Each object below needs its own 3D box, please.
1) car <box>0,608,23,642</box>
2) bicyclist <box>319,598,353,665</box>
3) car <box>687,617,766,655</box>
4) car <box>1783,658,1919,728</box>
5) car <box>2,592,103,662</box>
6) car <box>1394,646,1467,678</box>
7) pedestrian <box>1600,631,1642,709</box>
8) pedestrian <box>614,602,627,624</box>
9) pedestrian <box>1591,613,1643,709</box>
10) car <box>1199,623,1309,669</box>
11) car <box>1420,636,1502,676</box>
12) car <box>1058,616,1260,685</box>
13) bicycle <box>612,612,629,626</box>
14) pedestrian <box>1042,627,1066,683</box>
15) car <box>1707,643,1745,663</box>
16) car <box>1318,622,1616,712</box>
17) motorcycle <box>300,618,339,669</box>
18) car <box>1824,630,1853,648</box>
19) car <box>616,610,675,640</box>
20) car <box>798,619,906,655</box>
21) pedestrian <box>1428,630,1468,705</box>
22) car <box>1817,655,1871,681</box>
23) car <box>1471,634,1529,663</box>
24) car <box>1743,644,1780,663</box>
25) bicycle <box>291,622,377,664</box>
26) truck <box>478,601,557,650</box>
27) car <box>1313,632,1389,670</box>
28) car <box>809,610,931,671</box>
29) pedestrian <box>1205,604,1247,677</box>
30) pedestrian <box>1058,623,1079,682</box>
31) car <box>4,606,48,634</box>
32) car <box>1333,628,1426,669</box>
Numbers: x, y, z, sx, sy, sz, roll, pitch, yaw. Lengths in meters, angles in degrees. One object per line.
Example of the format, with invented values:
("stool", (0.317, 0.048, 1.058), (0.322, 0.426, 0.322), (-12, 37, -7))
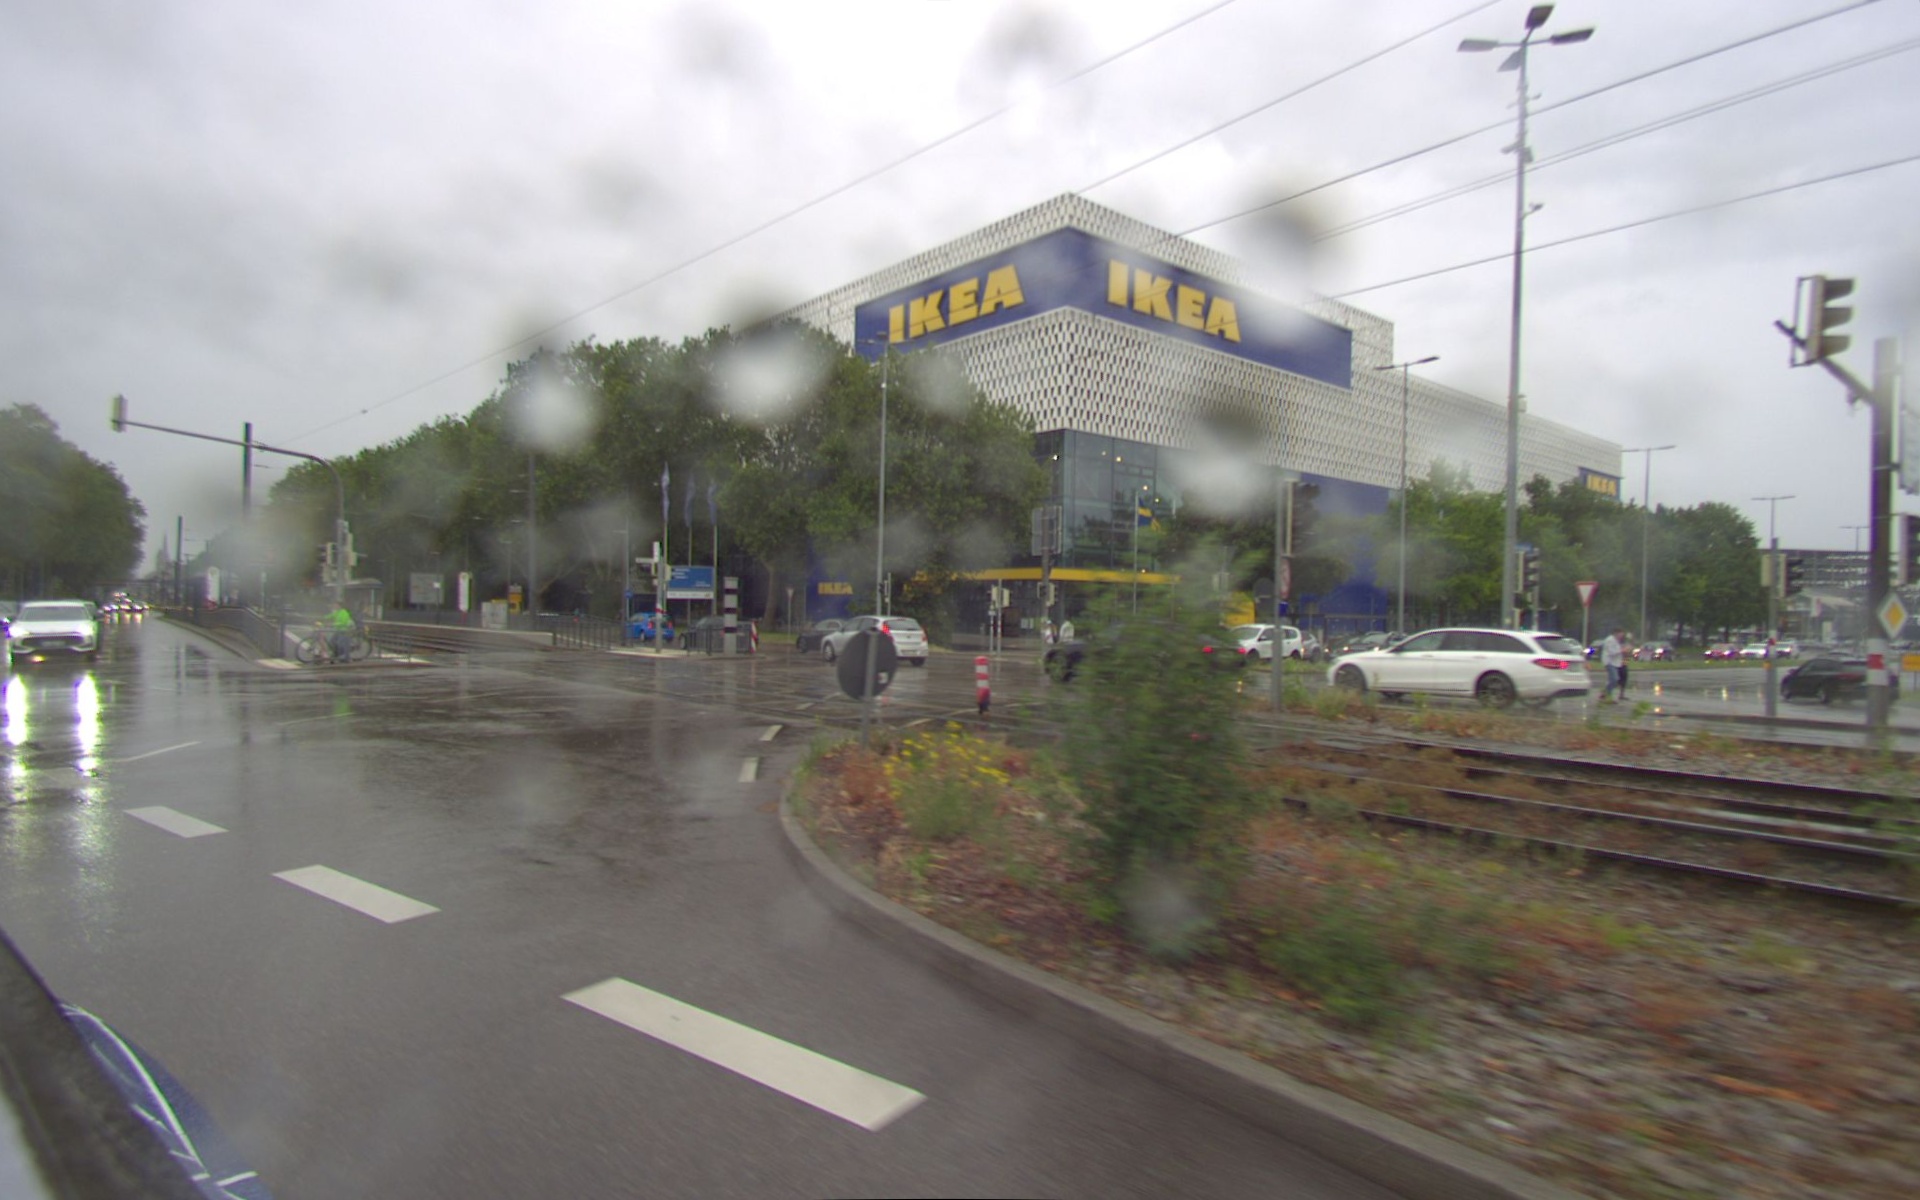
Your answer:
("car", (-46.285, 1.221, 48.579), (1.690, 1.536, 4.049), (-1, -1, -40))
("bicyclist", (-16.571, 0.833, 26.874), (0.609, 1.745, 0.794), (-2, 0, -43))
("car", (-9.313, 1.408, 40.107), (1.561, 1.377, 4.211), (-1, 0, -35))
("car", (26.546, 2.684, 29.954), (1.785, 1.630, 3.984), (0, 1, 13))
("car", (-25.669, 0.714, 28.756), (1.964, 1.802, 4.560), (-1, 0, -40))
("car", (25.299, 3.295, 54.388), (4.220, 1.552, 1.823), (1, -2, -38))
("pedestrian", (16.368, 1.714, 25.043), (0.769, 1.831, 0.706), (0, 1, 43))
("pedestrian", (-21.874, 0.838, 65.256), (0.571, 1.345, 0.686), (-1, 1, -45))
("pedestrian", (14.437, 1.323, 22.250), (0.858, 2.029, 0.686), (0, 1, 43))
("car", (11.323, 1.719, 38.895), (4.391, 1.552, 1.823), (-1, -1, -38))
("car", (23.849, 2.639, 48.143), (4.044, 1.615, 2.004), (-1, 1, -39))
("car", (4.078, 0.998, 21.292), (1.690, 1.259, 4.056), (-1, 0, -37))
("bicycle", (-21.882, 1.212, 65.271), (0.566, 0.863, 1.176), (-1, 1, -45))
("pedestrian", (3.486, 2.020, 37.638), (0.684, 2.029, 0.629), (-2, 0, -9))
("car", (64.873, 4.453, 85.731), (3.922, 1.417, 1.606), (-1, 1, -38))
("car", (9.446, 1.181, 19.240), (1.789, 1.447, 4.722), (-1, 0, -38))
("motorcycle", (-16.189, 1.083, 25.593), (0.519, 1.230, 1.406), (-2, 0, -20))
("car", (107.479, 4.733, 123.855), (3.936, 2.029, 2.004), (-1, 1, -39))
("car", (-16.204, 1.296, 52.069), (1.561, 1.425, 3.922), (-1, -1, -38))
("car", (-5.440, 1.856, 50.938), (5.011, 1.579, 1.991), (-2, 0, 14))
("pedestrian", (13.683, 1.865, 28.378), (0.756, 2.029, 0.672), (-1, 1, -26))
("car", (60.274, 4.603, 68.983), (4.154, 1.417, 2.040), (-1, 1, -38))
("car", (31.599, 2.808, 59.167), (3.763, 1.417, 1.606), (-1, 1, -38))
("car", (72.923, 4.836, 92.016), (4.100, 1.417, 1.713), (-1, 1, -38))
("bicycle", (-16.627, 1.131, 26.904), (1.843, 1.016, 0.671), (-2, 0, -42))
("truck", (-30.988, 1.673, 70.597), (2.706, 2.870, 9.111), (-1, 3, -39))
("car", (19.465, 2.518, 50.382), (3.954, 1.630, 1.763), (-1, 1, -38))
("car", (-2.867, 1.205, 31.306), (1.689, 1.721, 4.439), (-1, 0, -36))
("pedestrian", (8.698, 1.295, 33.077), (0.905, 2.261, 0.993), (-2, 3, -27))
("pedestrian", (4.020, 1.943, 37.618), (0.562, 2.151, 0.634), (-2, 0, -8))
("car", (-54.293, 1.177, 58.881), (1.690, 1.536, 4.049), (-1, -1, -40))
("car", (18.318, 2.062, 44.138), (4.311, 1.552, 1.823), (-1, 0, -38))
